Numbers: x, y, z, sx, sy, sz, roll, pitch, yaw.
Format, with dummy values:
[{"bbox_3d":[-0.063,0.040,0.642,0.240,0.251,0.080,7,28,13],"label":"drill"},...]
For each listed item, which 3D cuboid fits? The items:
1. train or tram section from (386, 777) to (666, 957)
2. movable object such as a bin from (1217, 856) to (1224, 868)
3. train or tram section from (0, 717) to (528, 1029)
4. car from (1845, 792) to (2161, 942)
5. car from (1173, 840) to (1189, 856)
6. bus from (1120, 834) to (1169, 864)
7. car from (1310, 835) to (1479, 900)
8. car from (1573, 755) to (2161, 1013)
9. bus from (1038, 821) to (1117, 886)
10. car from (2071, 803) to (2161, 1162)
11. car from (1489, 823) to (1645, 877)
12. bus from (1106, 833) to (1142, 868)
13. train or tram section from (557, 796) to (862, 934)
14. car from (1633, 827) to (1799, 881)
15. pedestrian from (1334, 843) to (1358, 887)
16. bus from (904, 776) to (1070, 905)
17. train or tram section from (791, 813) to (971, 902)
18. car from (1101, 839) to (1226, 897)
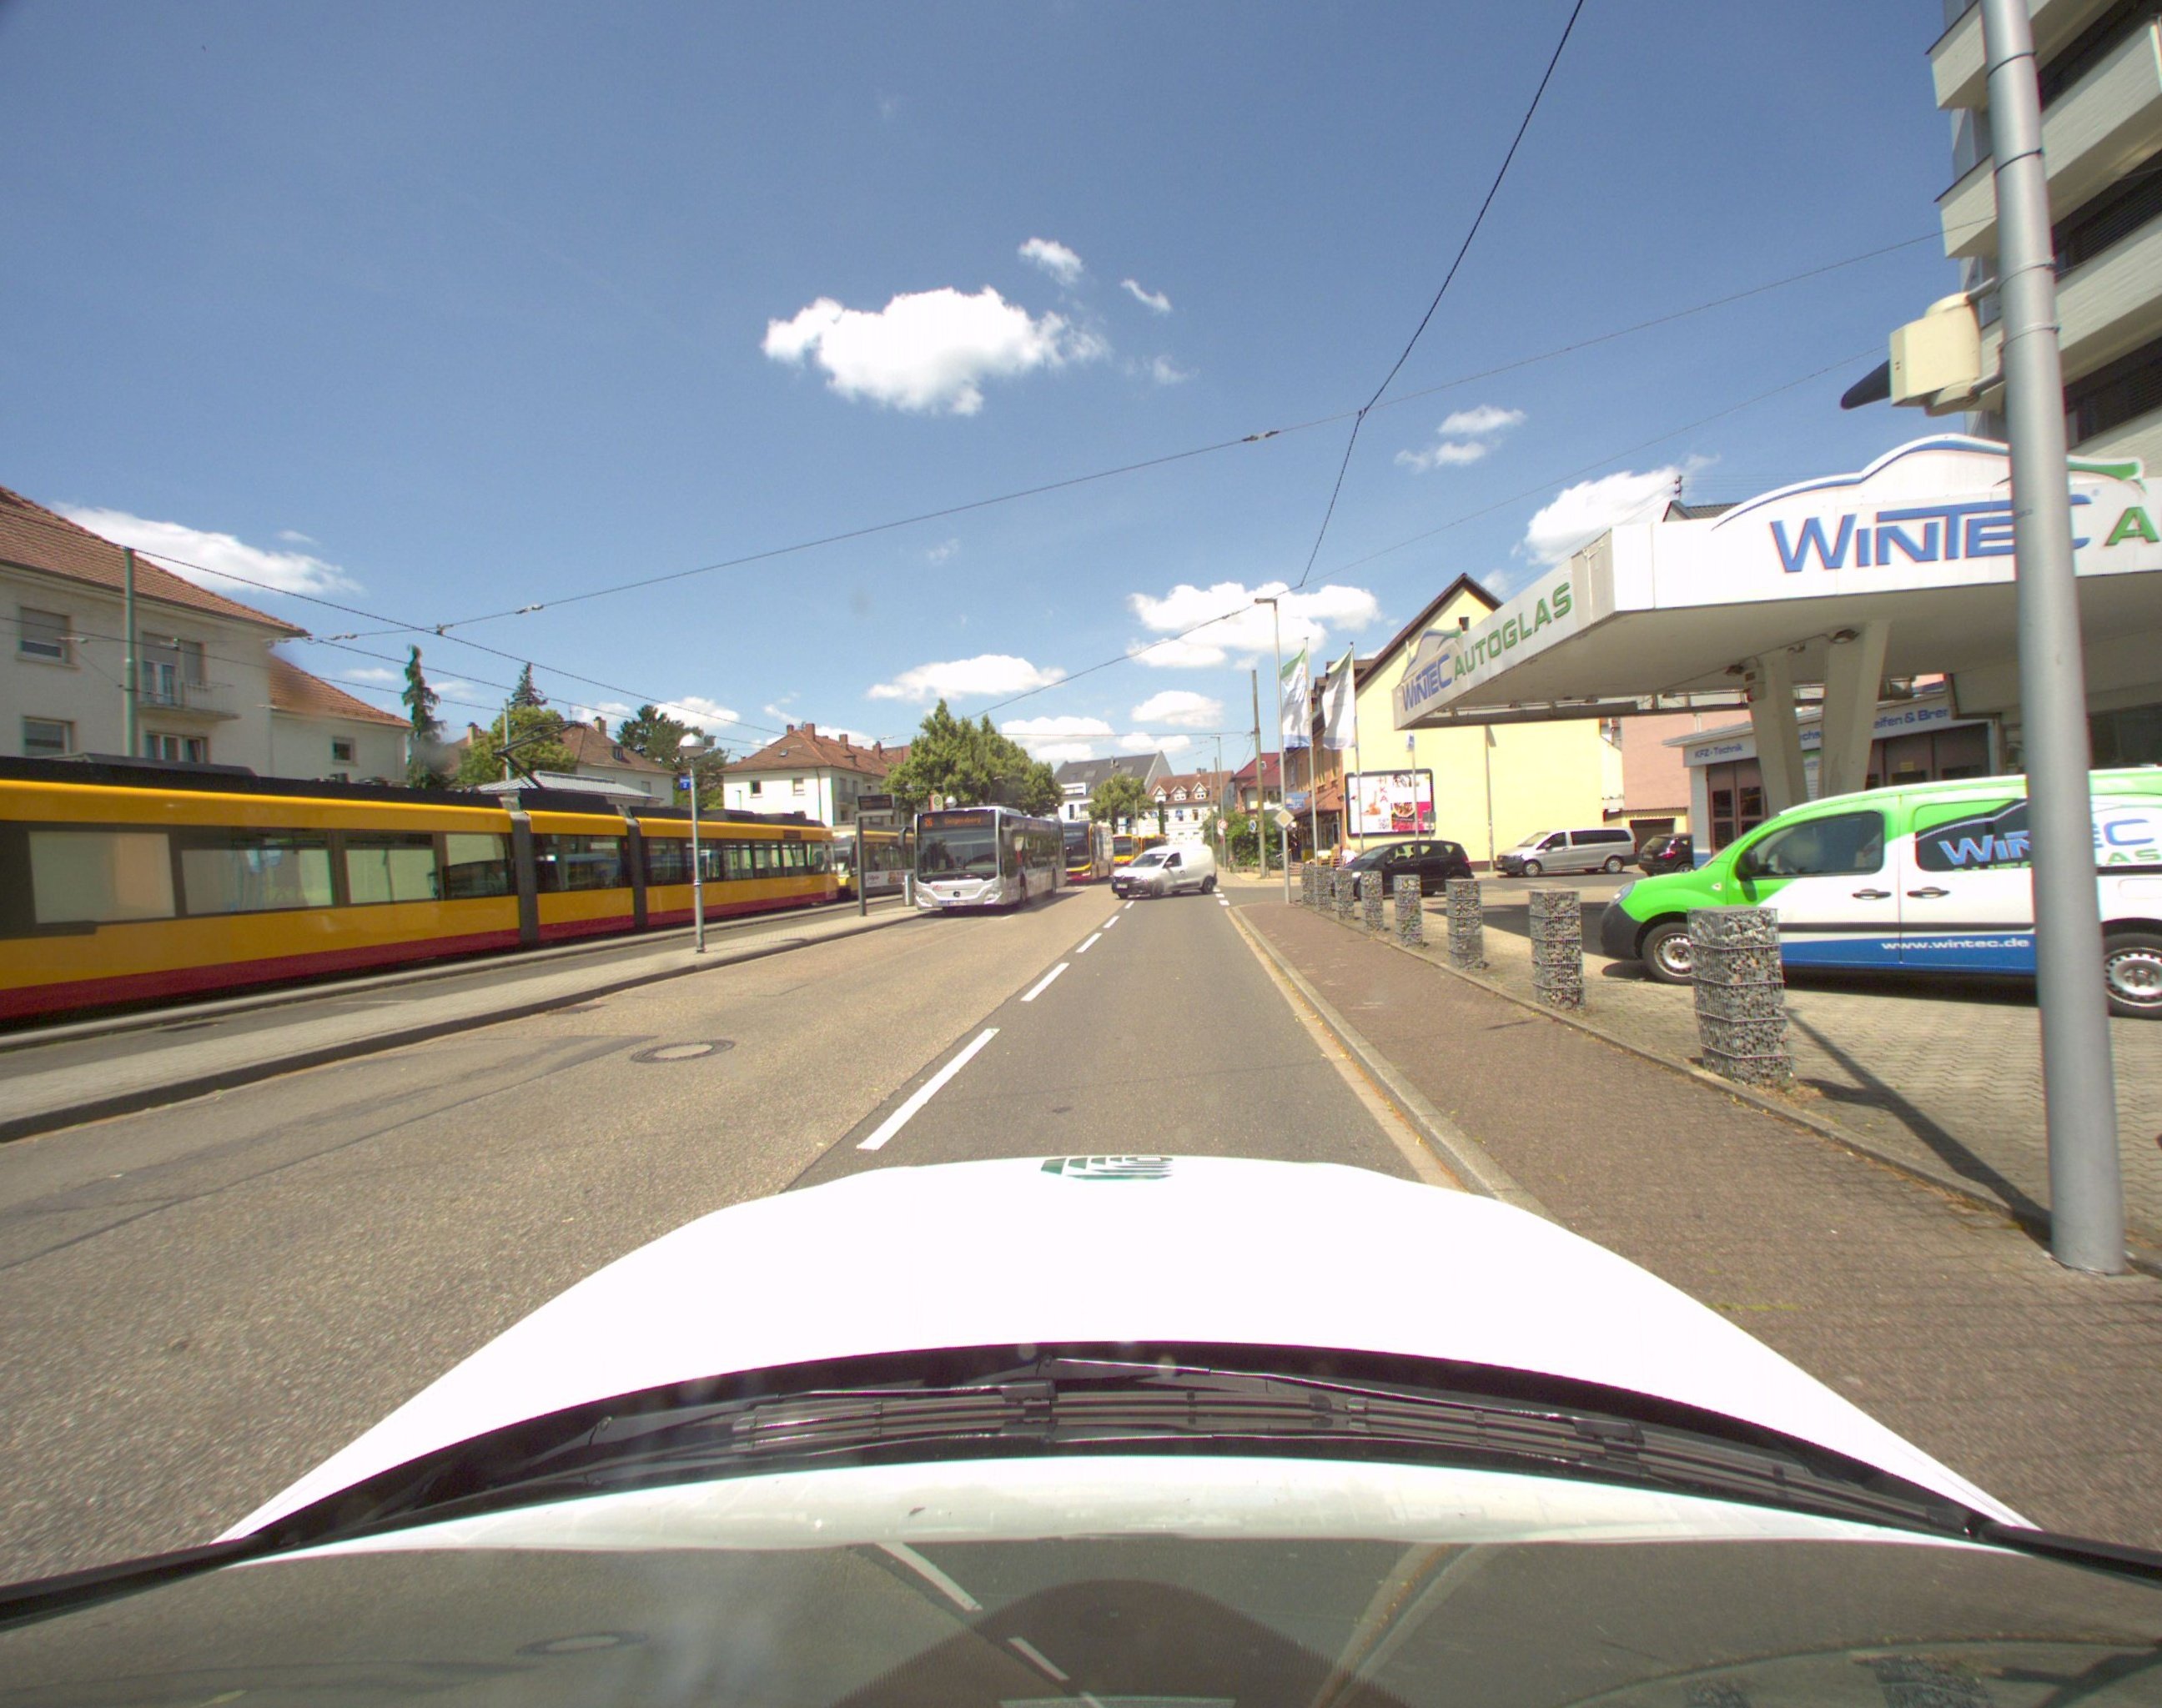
[{"bbox_3d":[-12.386,0.277,18.669,2.947,3.495,4.426,-3,0,7],"label":"train or tram section"},{"bbox_3d":[10.800,0.633,63.114,0.405,0.907,0.730,-6,-1,4],"label":"movable object such as a bin"},{"bbox_3d":[-13.425,0.226,10.245,2.947,3.495,12.739,-1,0,7],"label":"train or tram section"},{"bbox_3d":[12.847,0.109,10.658,1.736,1.626,4.716,-2,0,8],"label":"car"},{"bbox_3d":[13.470,-0.760,109.398,1.982,2.014,4.008,-1,-1,8],"label":"car"},{"bbox_3d":[7.658,-0.687,96.536,2.757,3.208,12.366,-1,1,19],"label":"bus"},{"bbox_3d":[8.503,0.367,22.304,3.871,1.543,1.838,-2,-1,-6],"label":"car"},{"bbox_3d":[7.139,0.240,7.381,1.833,1.790,4.237,1,-1,-44],"label":"car"},{"bbox_3d":[0.084,0.094,47.077,2.882,3.247,12.221,-1,-1,8],"label":"bus"},{"bbox_3d":[5.766,0.416,1.942,3.922,1.429,1.711,-4,-1,31],"label":"car"},{"bbox_3d":[19.525,-0.143,32.907,5.032,1.862,1.910,-3,-1,3],"label":"car"},{"bbox_3d":[4.537,-0.337,83.070,2.892,3.248,12.141,-1,0,7],"label":"bus"},{"bbox_3d":[-11.230,0.282,27.117,2.947,3.495,12.682,-1,0,7],"label":"train or tram section"},{"bbox_3d":[20.880,0.017,26.935,3.853,1.543,1.847,-3,-1,9],"label":"car"},{"bbox_3d":[10.299,0.419,31.697,0.698,1.641,0.664,-3,1,27],"label":"pedestrian"},{"bbox_3d":[-2.642,-0.259,27.880,2.892,3.427,12.061,-1,-1,7],"label":"bus"},{"bbox_3d":[-9.364,0.141,41.965,2.947,3.642,17.387,-1,0,7],"label":"train or tram section"},{"bbox_3d":[3.005,0.440,28.934,4.740,1.850,1.688,-2,1,-43],"label":"car"}]
